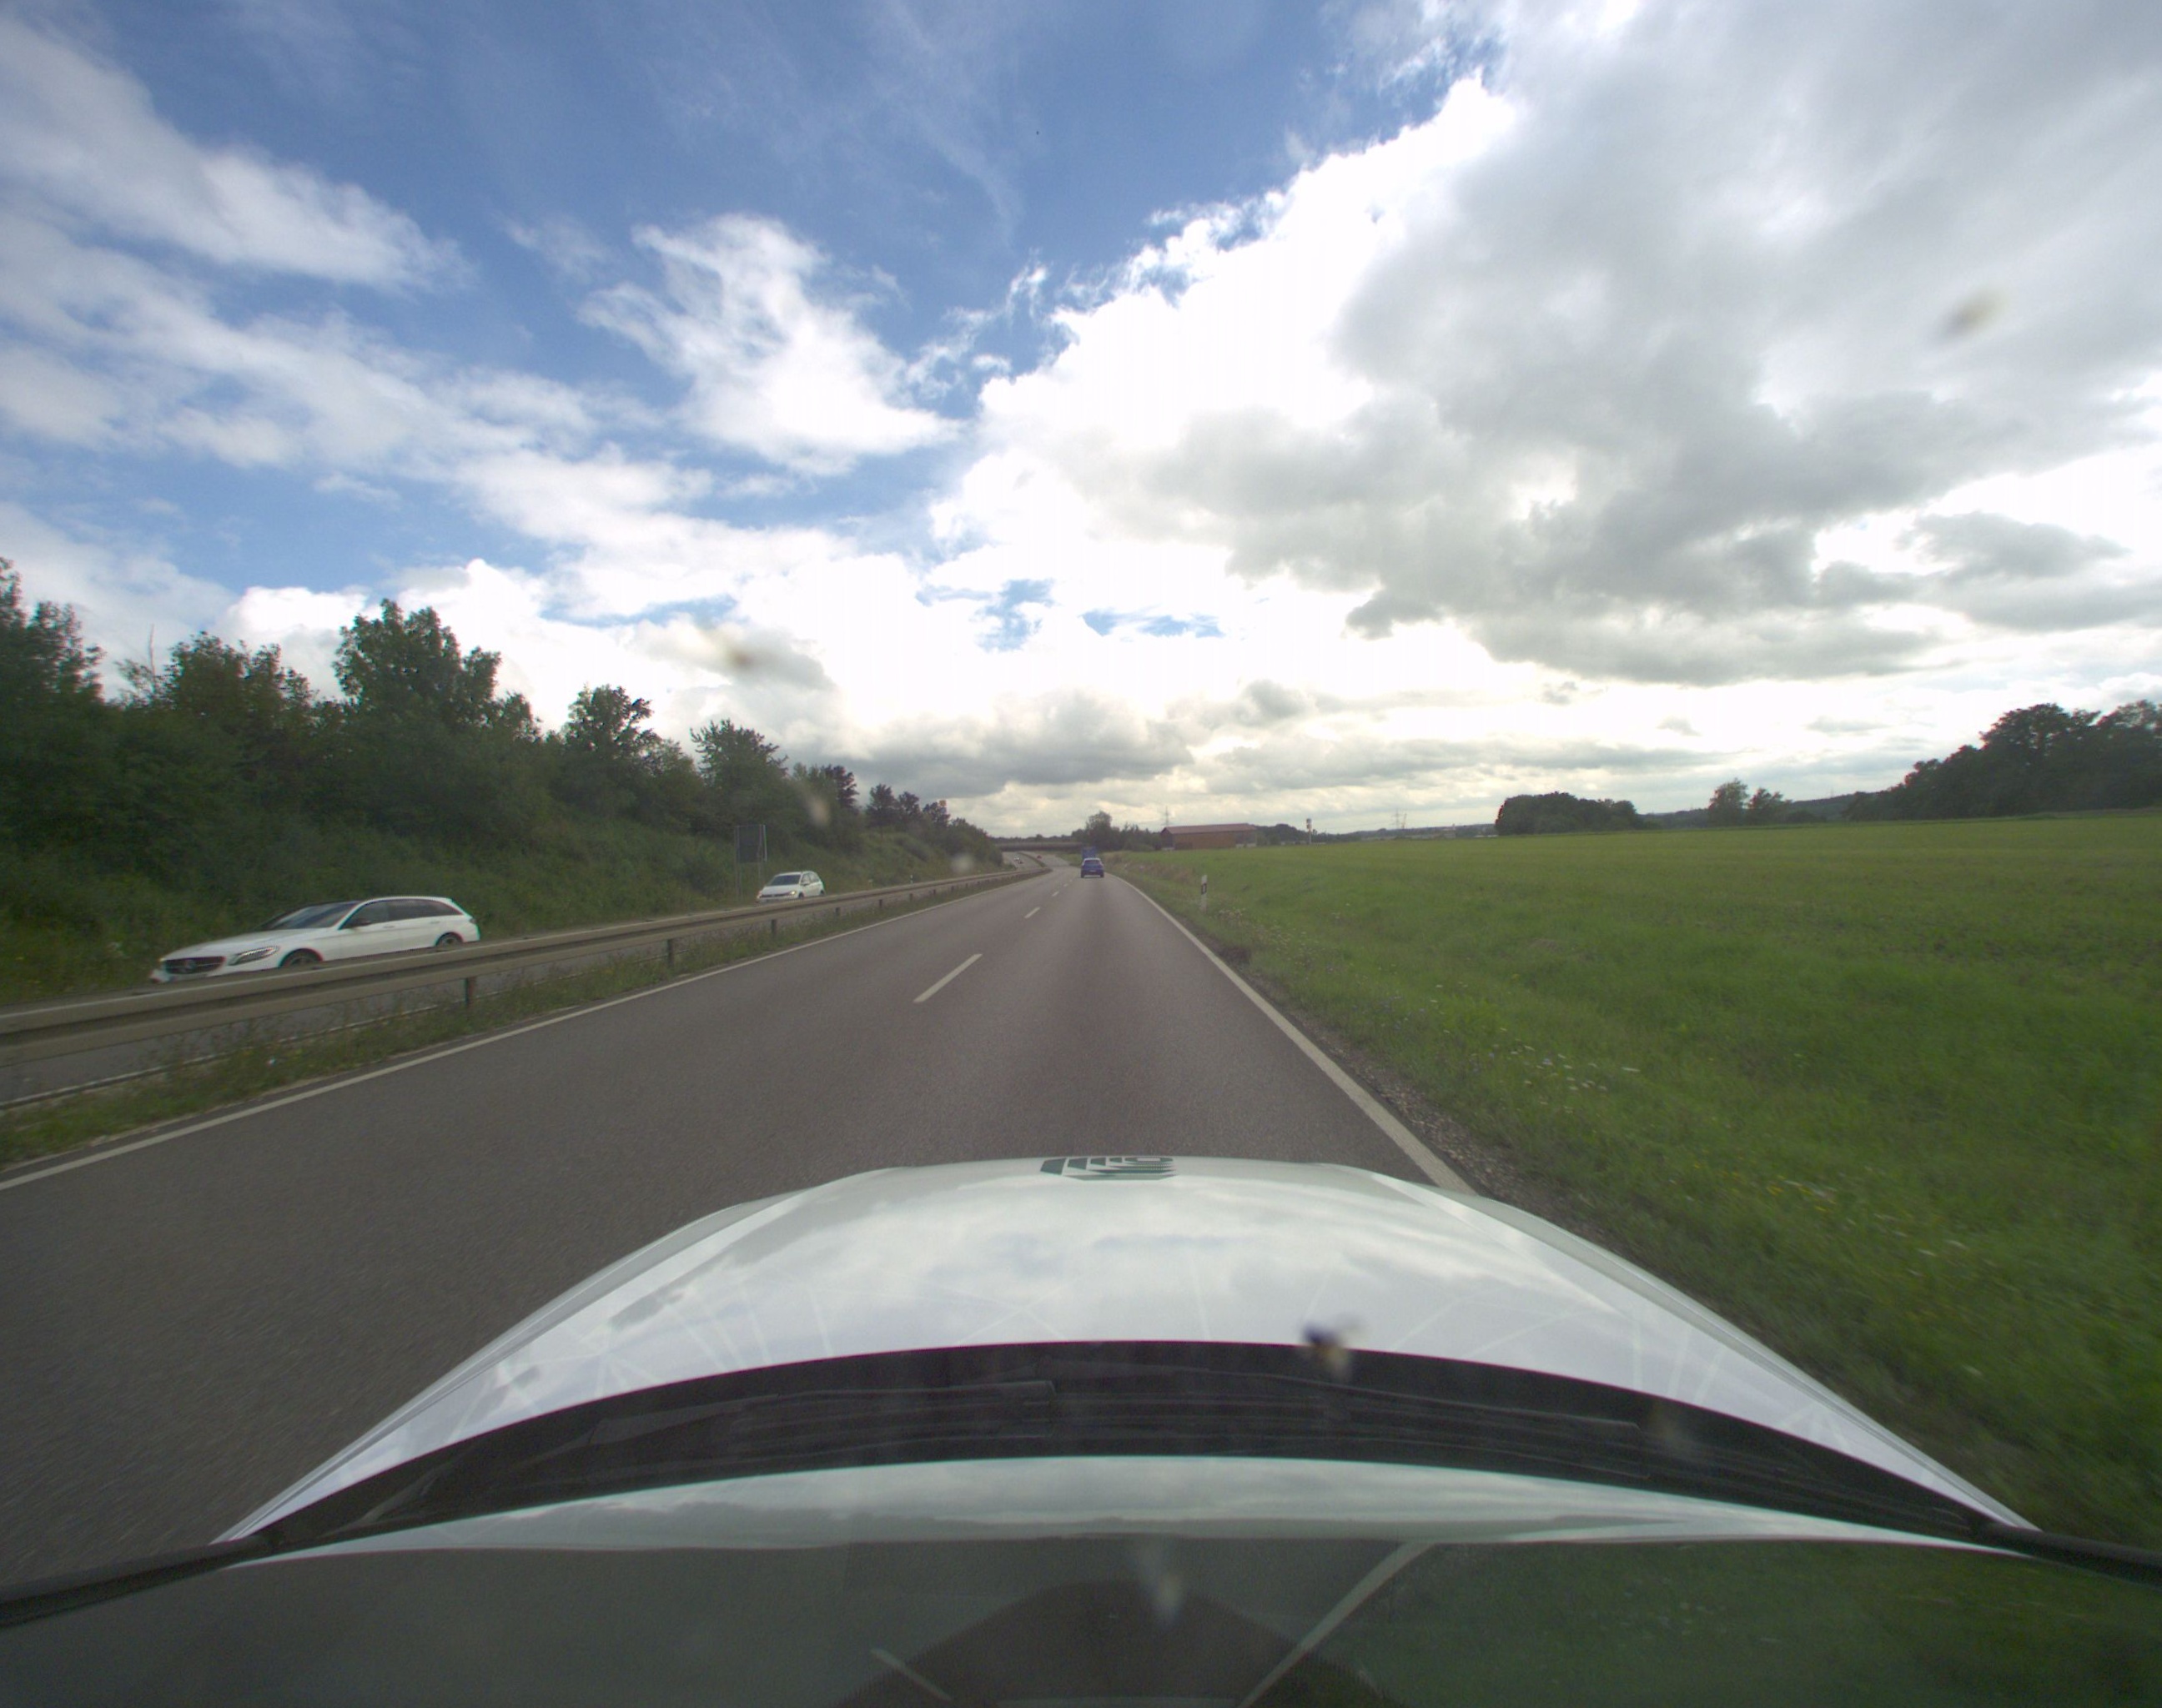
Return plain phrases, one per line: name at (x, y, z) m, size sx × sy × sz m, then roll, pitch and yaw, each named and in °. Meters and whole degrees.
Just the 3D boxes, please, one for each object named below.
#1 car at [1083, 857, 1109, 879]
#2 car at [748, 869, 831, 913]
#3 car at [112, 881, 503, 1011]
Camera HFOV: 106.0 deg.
car at (1.223, 1.136, 68.825) m, size 2.027 × 1.660 × 4.542 m, roll -1°, pitch 1°, yaw -1°
car at (-12.611, 1.544, 35.560) m, size 1.914 × 1.517 × 4.464 m, roll -3°, pitch 1°, yaw 0°
car at (-13.098, 1.429, 14.423) m, size 1.986 × 1.517 × 4.990 m, roll -3°, pitch 1°, yaw 1°
